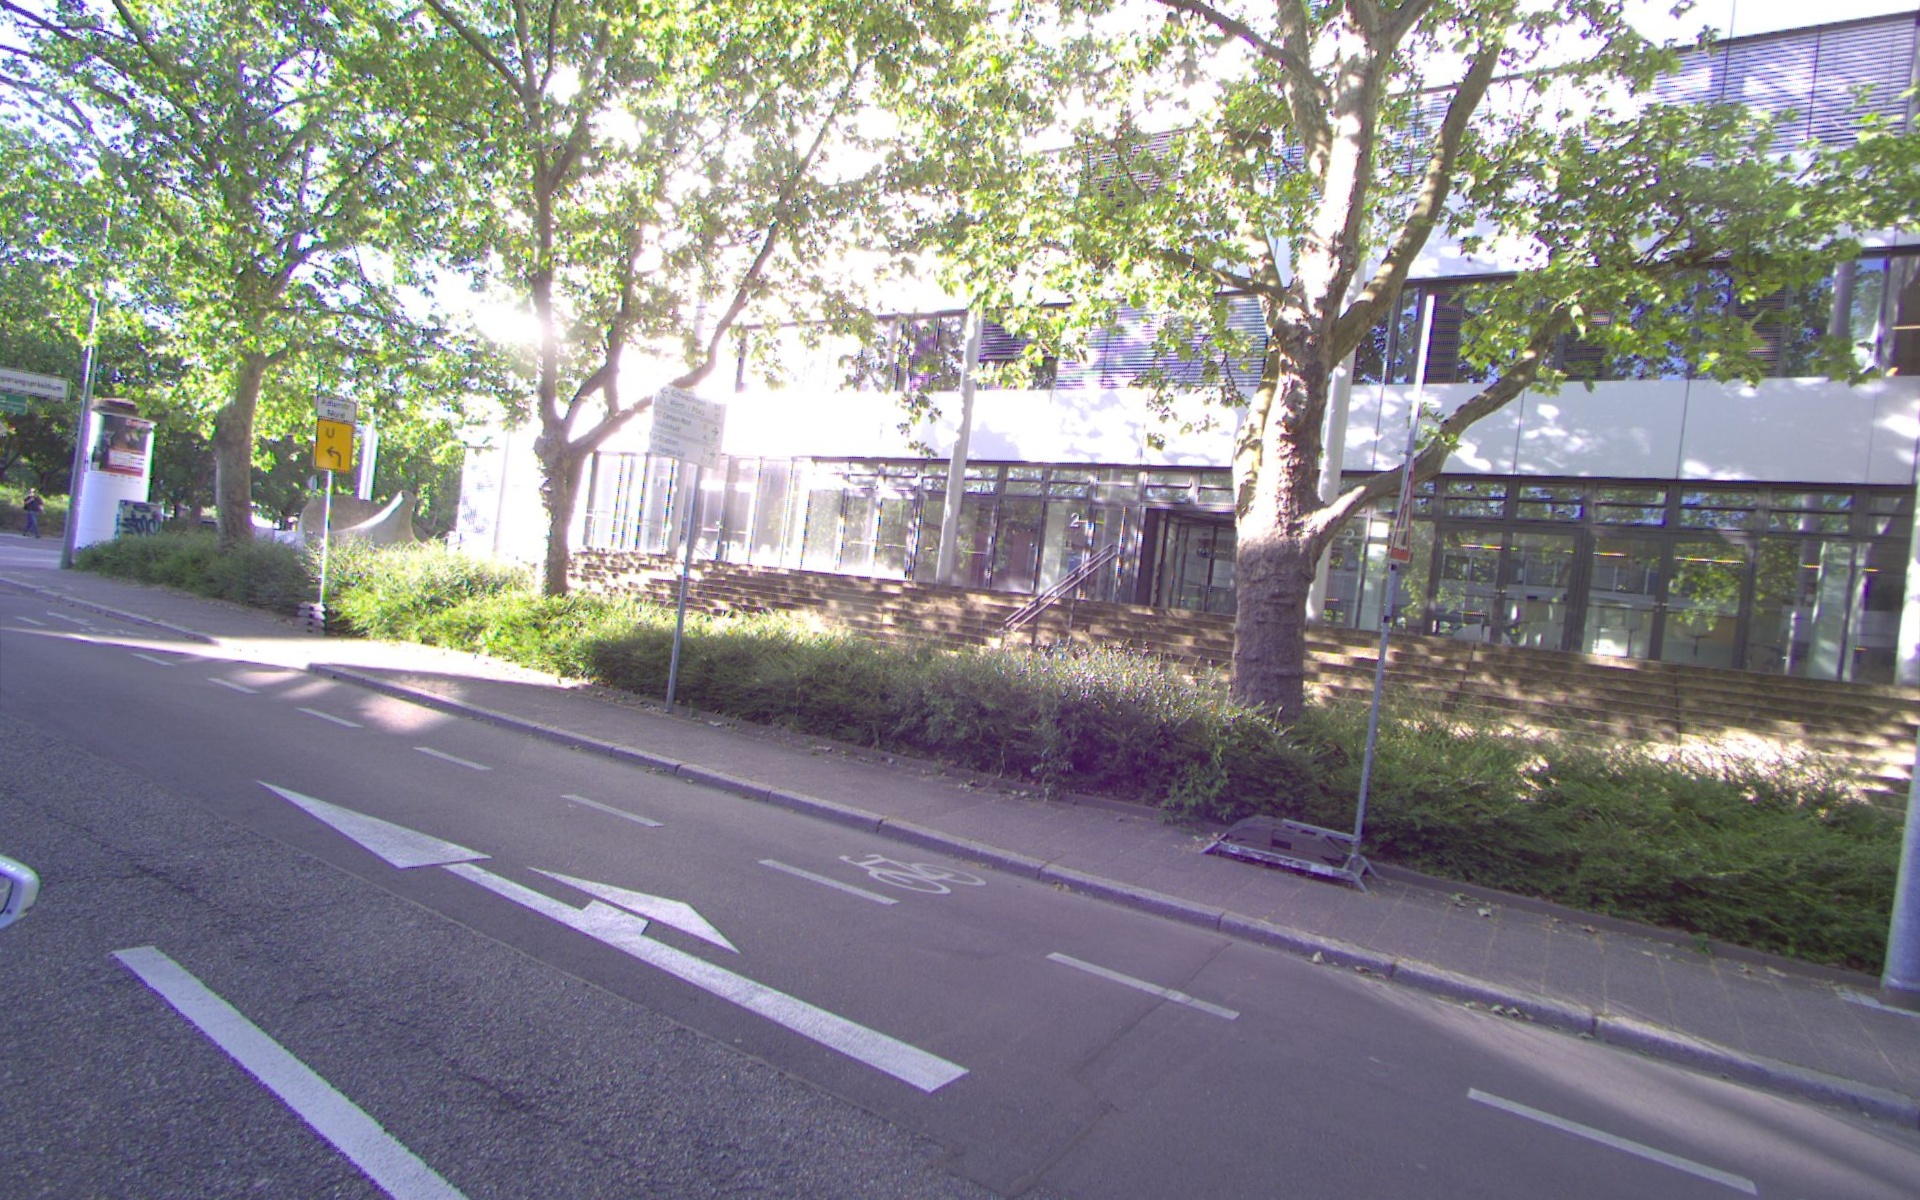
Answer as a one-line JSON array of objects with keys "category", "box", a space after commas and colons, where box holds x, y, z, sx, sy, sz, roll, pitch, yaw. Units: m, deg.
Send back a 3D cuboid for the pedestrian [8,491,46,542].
[{"category": "pedestrian", "box": [-35.702, -3.193, 38.519, 0.730, 1.799, 0.724, 8, -1, -28]}]
